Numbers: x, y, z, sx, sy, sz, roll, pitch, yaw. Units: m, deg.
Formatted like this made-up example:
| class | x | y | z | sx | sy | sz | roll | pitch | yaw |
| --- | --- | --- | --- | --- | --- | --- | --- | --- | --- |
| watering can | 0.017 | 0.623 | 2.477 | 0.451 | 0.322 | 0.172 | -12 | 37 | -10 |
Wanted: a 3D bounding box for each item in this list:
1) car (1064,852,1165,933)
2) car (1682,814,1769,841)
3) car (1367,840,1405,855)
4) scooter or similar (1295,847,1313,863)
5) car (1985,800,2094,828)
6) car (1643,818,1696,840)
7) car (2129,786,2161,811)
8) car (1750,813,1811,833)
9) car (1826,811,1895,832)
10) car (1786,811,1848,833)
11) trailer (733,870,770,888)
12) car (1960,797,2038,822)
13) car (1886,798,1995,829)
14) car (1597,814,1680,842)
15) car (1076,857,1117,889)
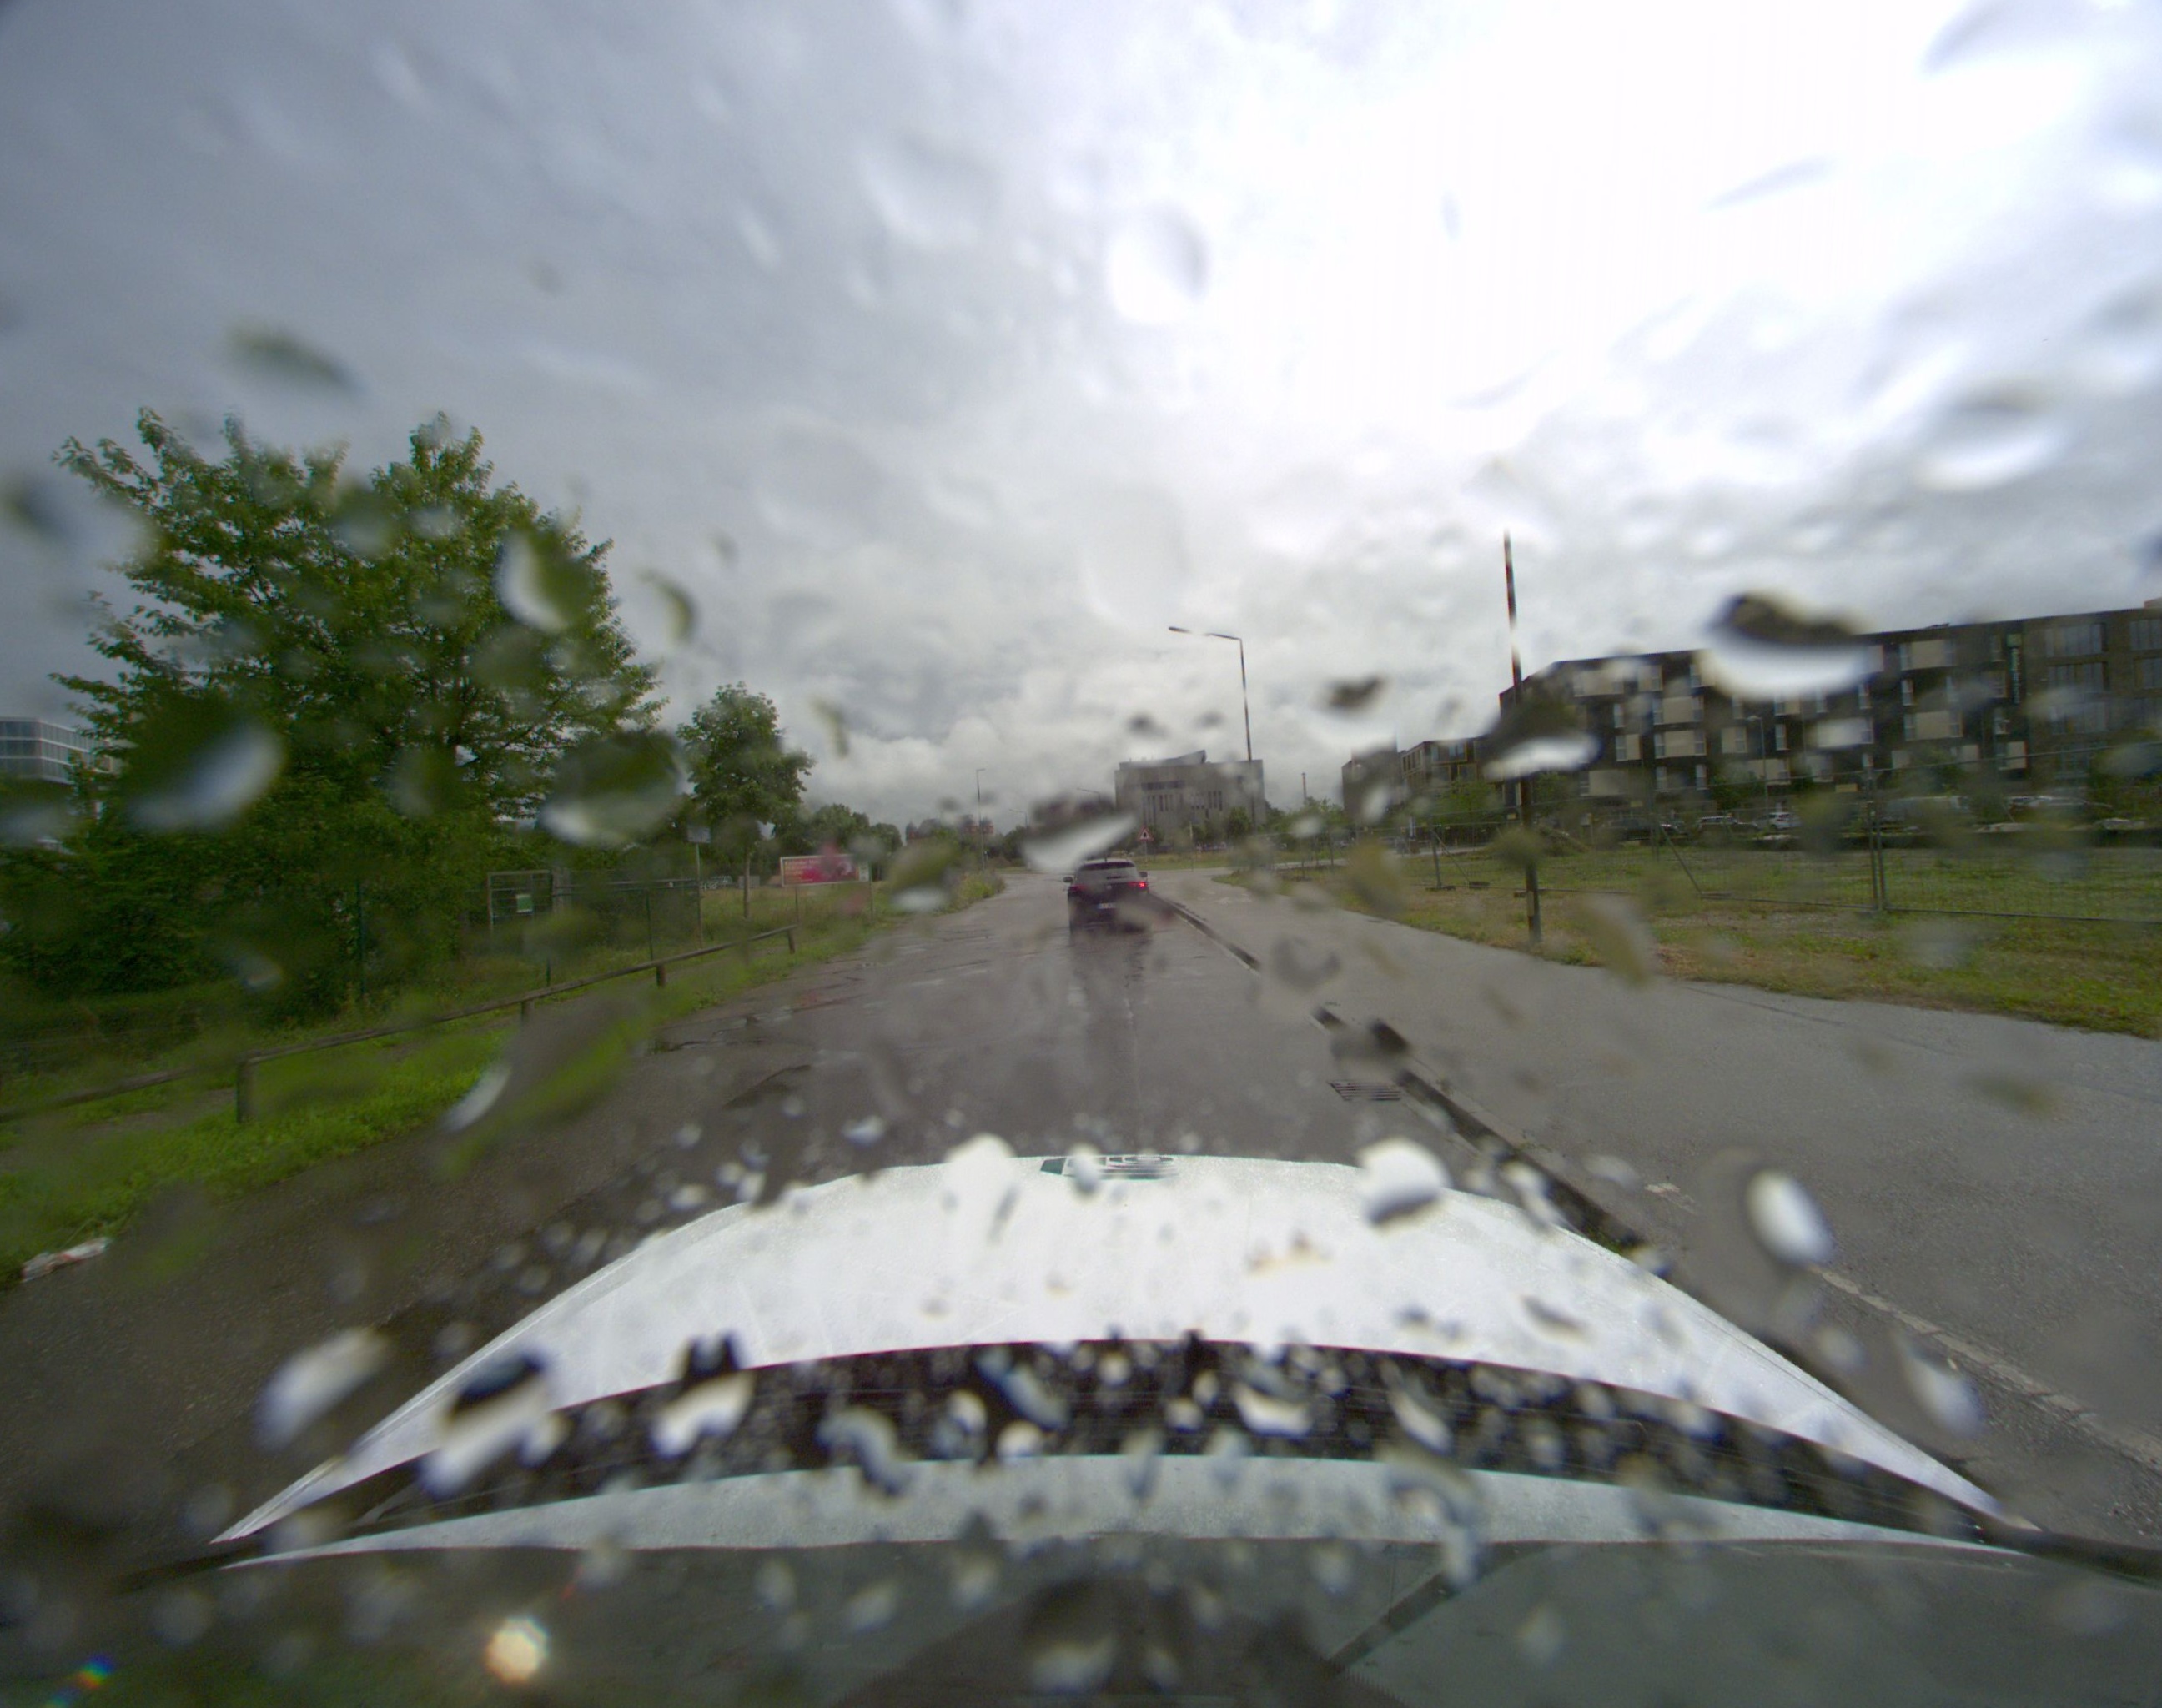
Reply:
| class | x | y | z | sx | sy | sz | roll | pitch | yaw |
| --- | --- | --- | --- | --- | --- | --- | --- | --- | --- |
| car | 0.688 | 0.782 | 18.665 | 1.980 | 1.520 | 4.000 | -3 | 0 | 0 |
| car | 41.532 | -1.697 | 52.554 | 3.967 | 1.641 | 2.004 | 0 | 0 | 6 |
| car | 38.155 | -0.846 | 101.895 | 4.176 | 1.557 | 1.673 | -5 | -1 | 13 |
| scooter or similar | 17.980 | 0.049 | 65.697 | 1.284 | 1.187 | 0.500 | -5 | 1 | -20 |
| car | 58.639 | -2.424 | 49.886 | 3.963 | 1.414 | 2.005 | -3 | 0 | 9 |
| car | 45.097 | -1.889 | 62.457 | 1.769 | 1.528 | 3.852 | 0 | 0 | 9 |
| car | 76.280 | -3.930 | 56.929 | 1.534 | 1.615 | 3.852 | 0 | 0 | 9 |
| car | 52.468 | -2.322 | 61.192 | 1.752 | 1.395 | 3.818 | 0 | 0 | 9 |
| car | 57.442 | -2.404 | 60.097 | 1.769 | 1.395 | 3.852 | 0 | 0 | 9 |
| car | 54.838 | -2.360 | 60.735 | 1.628 | 1.396 | 3.792 | -2 | -1 | 10 |
| trailer | -42.132 | 3.246 | 104.275 | 4.127 | 2.089 | 1.826 | -2 | -1 | -32 |
| car | 67.029 | -3.251 | 59.561 | 1.769 | 1.615 | 3.852 | 0 | 0 | 9 |
| car | 53.341 | -2.479 | 50.622 | 4.296 | 1.772 | 2.006 | 1 | 1 | 10 |
| car | 36.300 | -1.655 | 53.108 | 3.967 | 1.728 | 2.004 | 0 | 0 | 6 |
| car | 0.780 | 0.960 | 42.816 | 1.837 | 1.442 | 3.997 | -6 | 0 | -2 |
